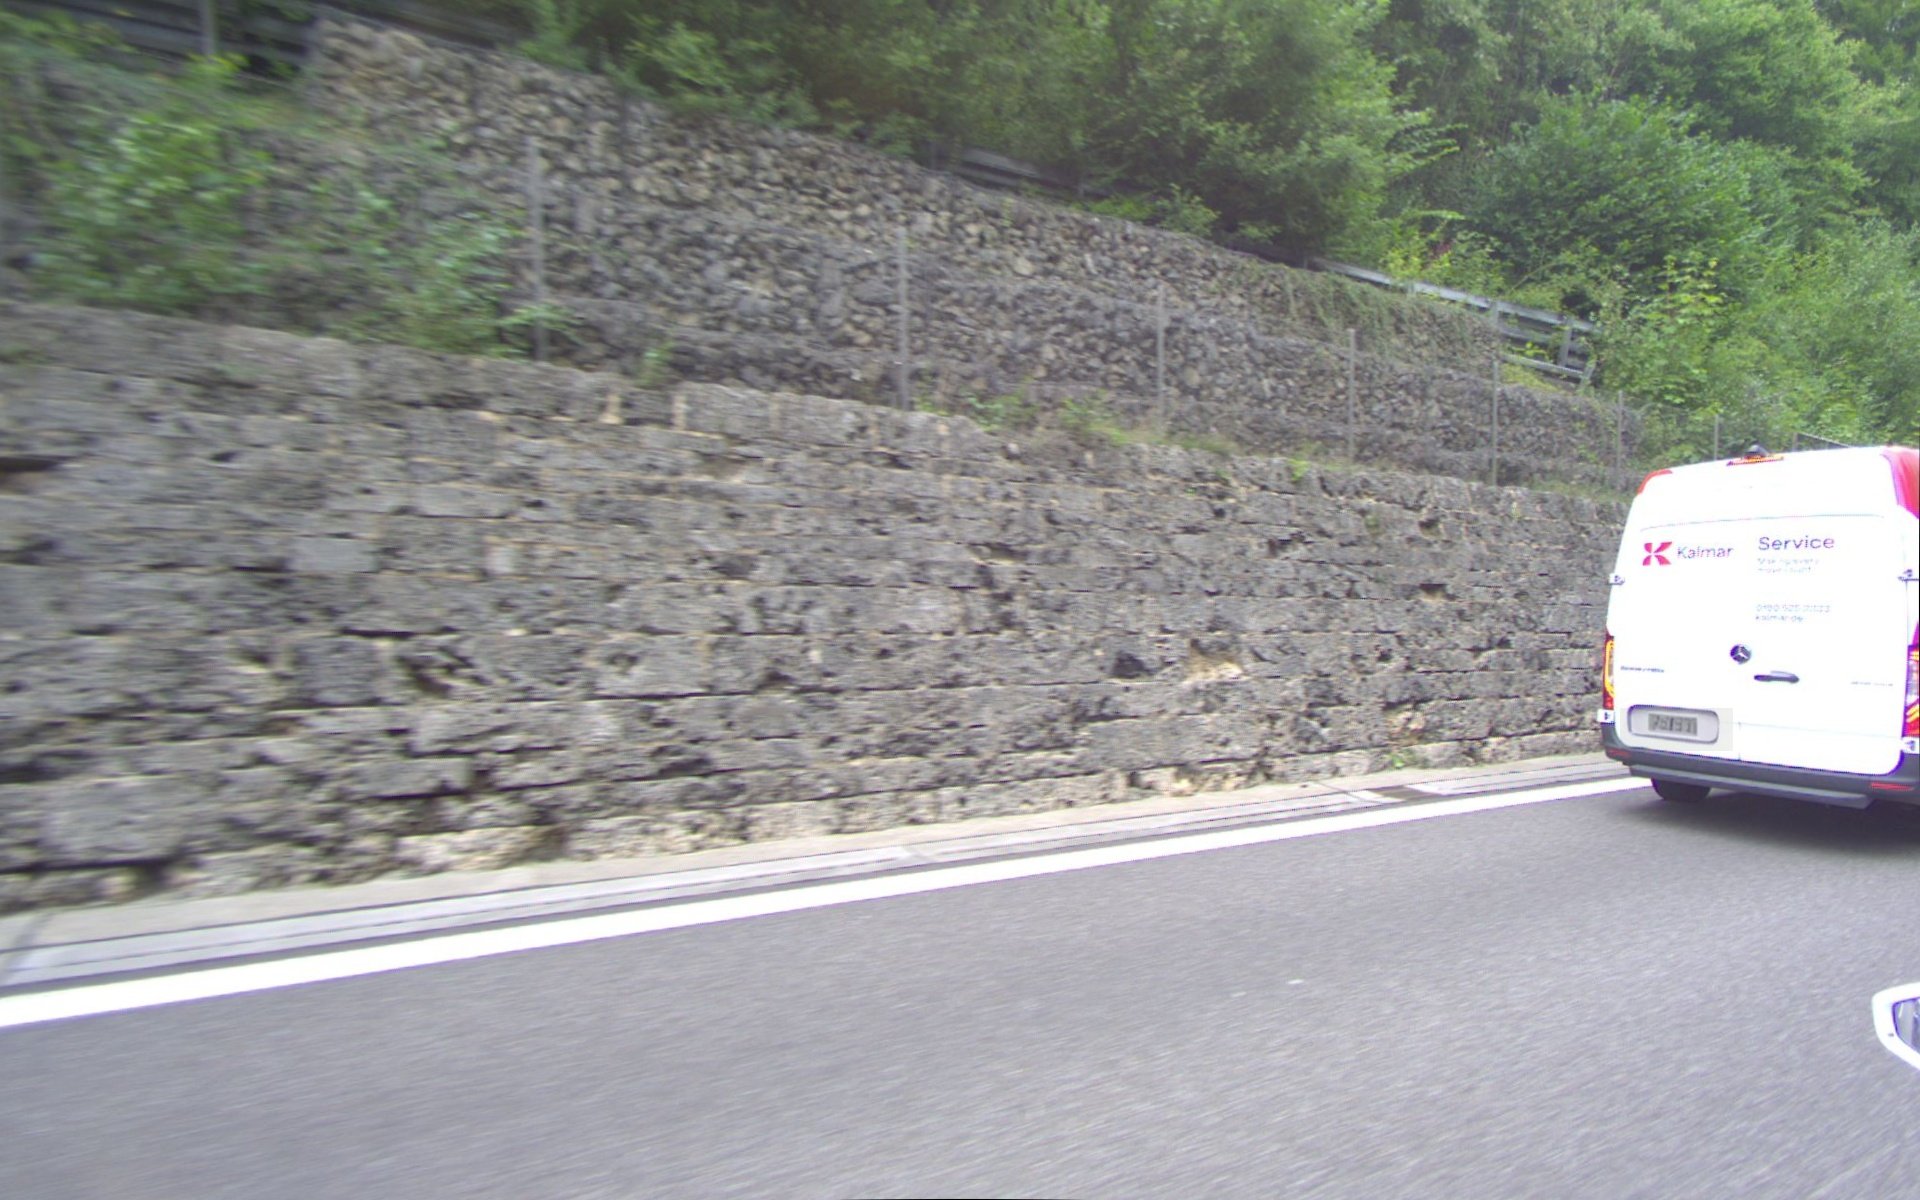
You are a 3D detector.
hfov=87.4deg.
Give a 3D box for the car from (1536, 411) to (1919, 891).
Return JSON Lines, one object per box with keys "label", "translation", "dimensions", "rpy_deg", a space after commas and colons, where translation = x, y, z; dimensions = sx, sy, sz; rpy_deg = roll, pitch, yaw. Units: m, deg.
{"label": "car", "translation": [7.315, 0.370, 7.956], "dimensions": [6.202, 2.619, 2.016], "rpy_deg": [2, -1, -31]}
